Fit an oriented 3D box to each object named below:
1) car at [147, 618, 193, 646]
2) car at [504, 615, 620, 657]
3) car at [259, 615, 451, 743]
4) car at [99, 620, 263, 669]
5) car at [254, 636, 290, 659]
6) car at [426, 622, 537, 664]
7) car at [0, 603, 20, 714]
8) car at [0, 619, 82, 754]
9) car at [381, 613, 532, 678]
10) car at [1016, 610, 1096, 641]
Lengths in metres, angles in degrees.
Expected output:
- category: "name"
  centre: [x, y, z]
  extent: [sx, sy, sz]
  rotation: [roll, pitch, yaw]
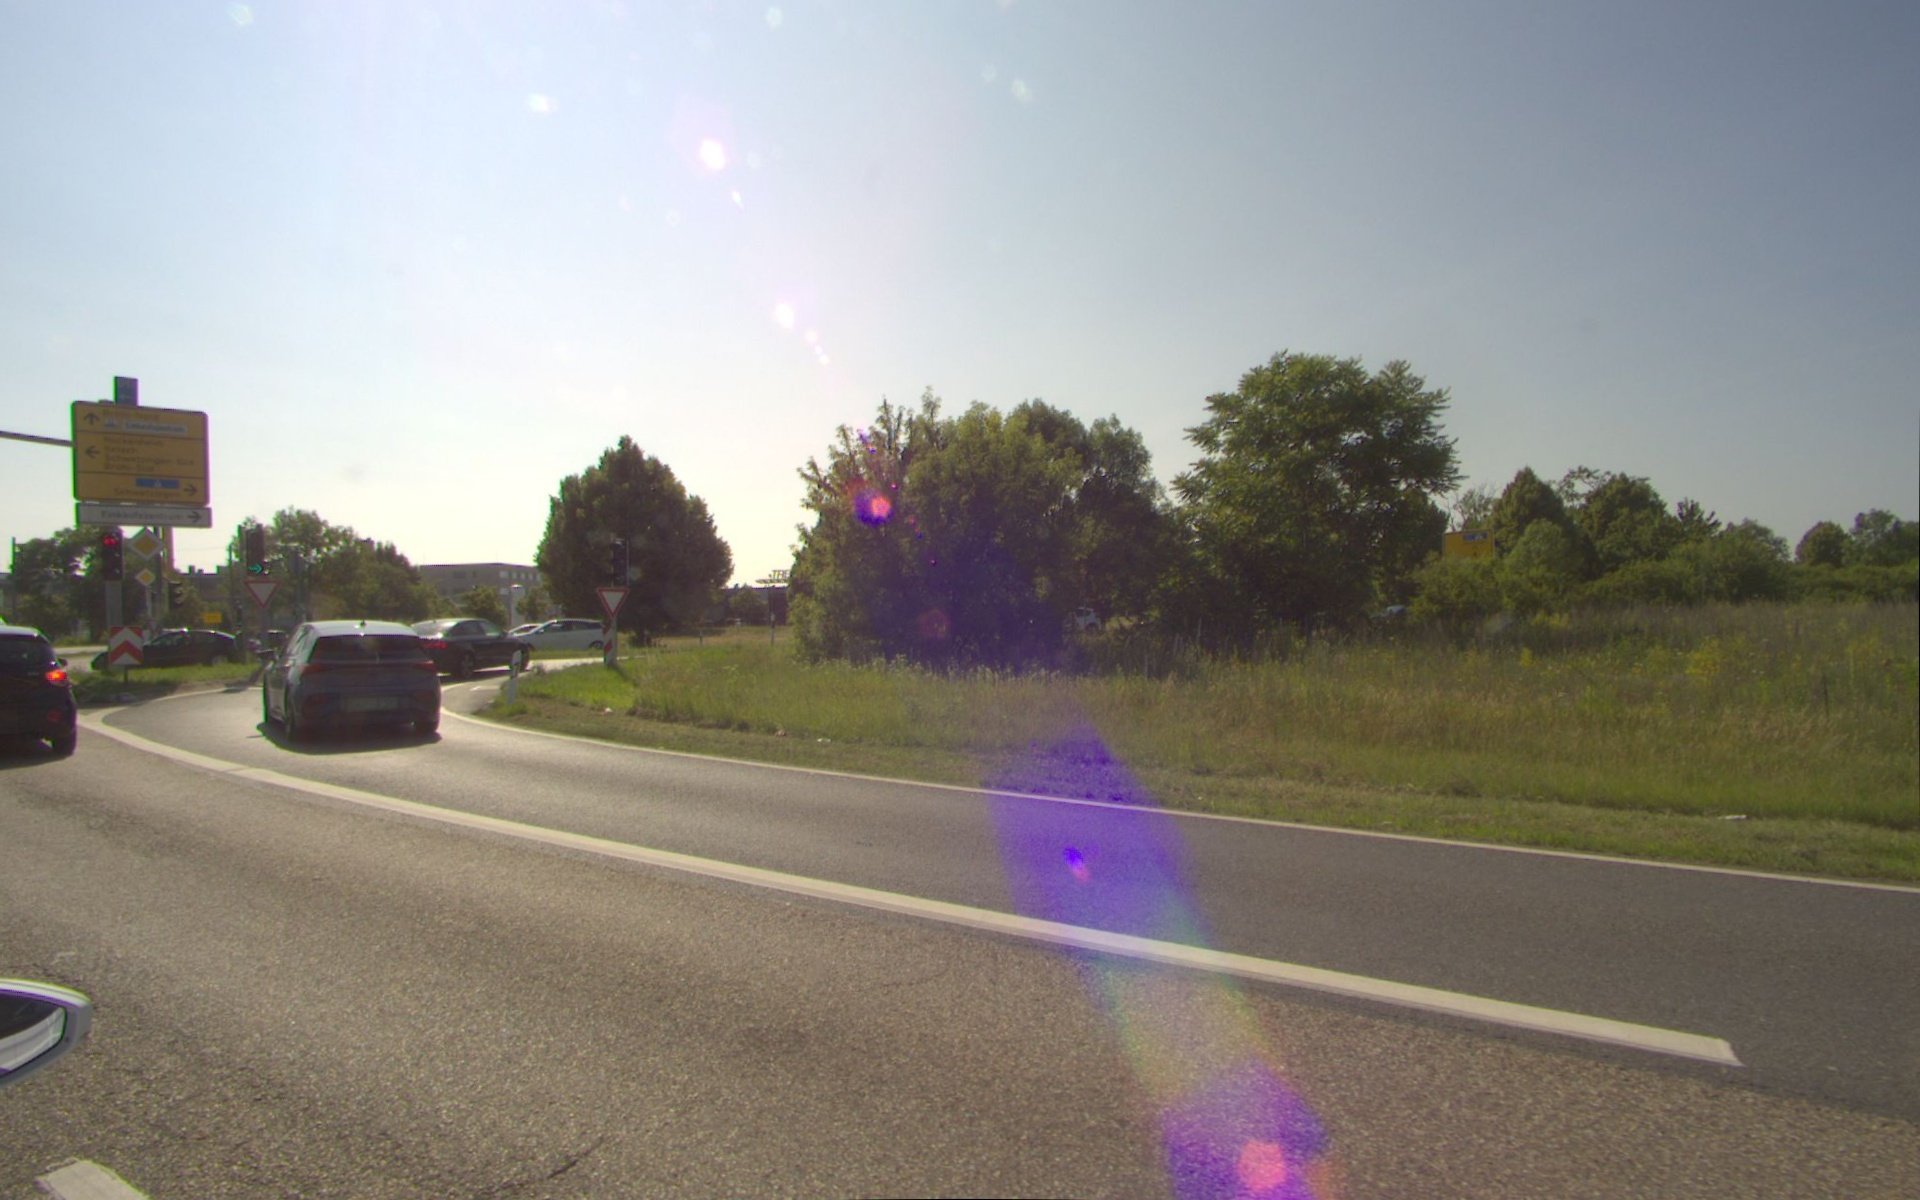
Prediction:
- category: "car"
  centre: [-54.053, 2.182, 68.577]
  extent: [1.695, 1.842, 3.763]
  rotation: [1, -2, -26]
- category: "car"
  centre: [-14.934, 1.337, 37.594]
  extent: [3.854, 1.484, 1.715]
  rotation: [0, -1, -29]
- category: "car"
  centre: [-8.791, 1.004, 14.390]
  extent: [1.759, 1.537, 4.064]
  rotation: [1, -1, -40]
- category: "car"
  centre: [-27.224, 1.516, 35.192]
  extent: [4.272, 1.539, 1.799]
  rotation: [-1, 0, -30]
- category: "car"
  centre: [-52.026, 3.546, 75.766]
  extent: [1.856, 1.694, 3.752]
  rotation: [1, -2, -30]
- category: "car"
  centre: [-18.946, 1.669, 39.659]
  extent: [3.824, 1.539, 1.799]
  rotation: [-1, 0, -30]
- category: "car"
  centre: [-16.457, 0.920, 16.103]
  extent: [3.708, 1.698, 1.625]
  rotation: [-1, -2, 42]
- category: "car"
  centre: [-11.724, 0.959, 11.849]
  extent: [3.258, 1.467, 1.625]
  rotation: [-1, -2, 42]
- category: "car"
  centre: [-12.049, 1.038, 24.274]
  extent: [1.614, 1.404, 3.999]
  rotation: [0, 0, 0]
- category: "car"
  centre: [5.024, 1.303, 52.467]
  extent: [3.821, 1.539, 1.800]
  rotation: [-1, 0, -27]
